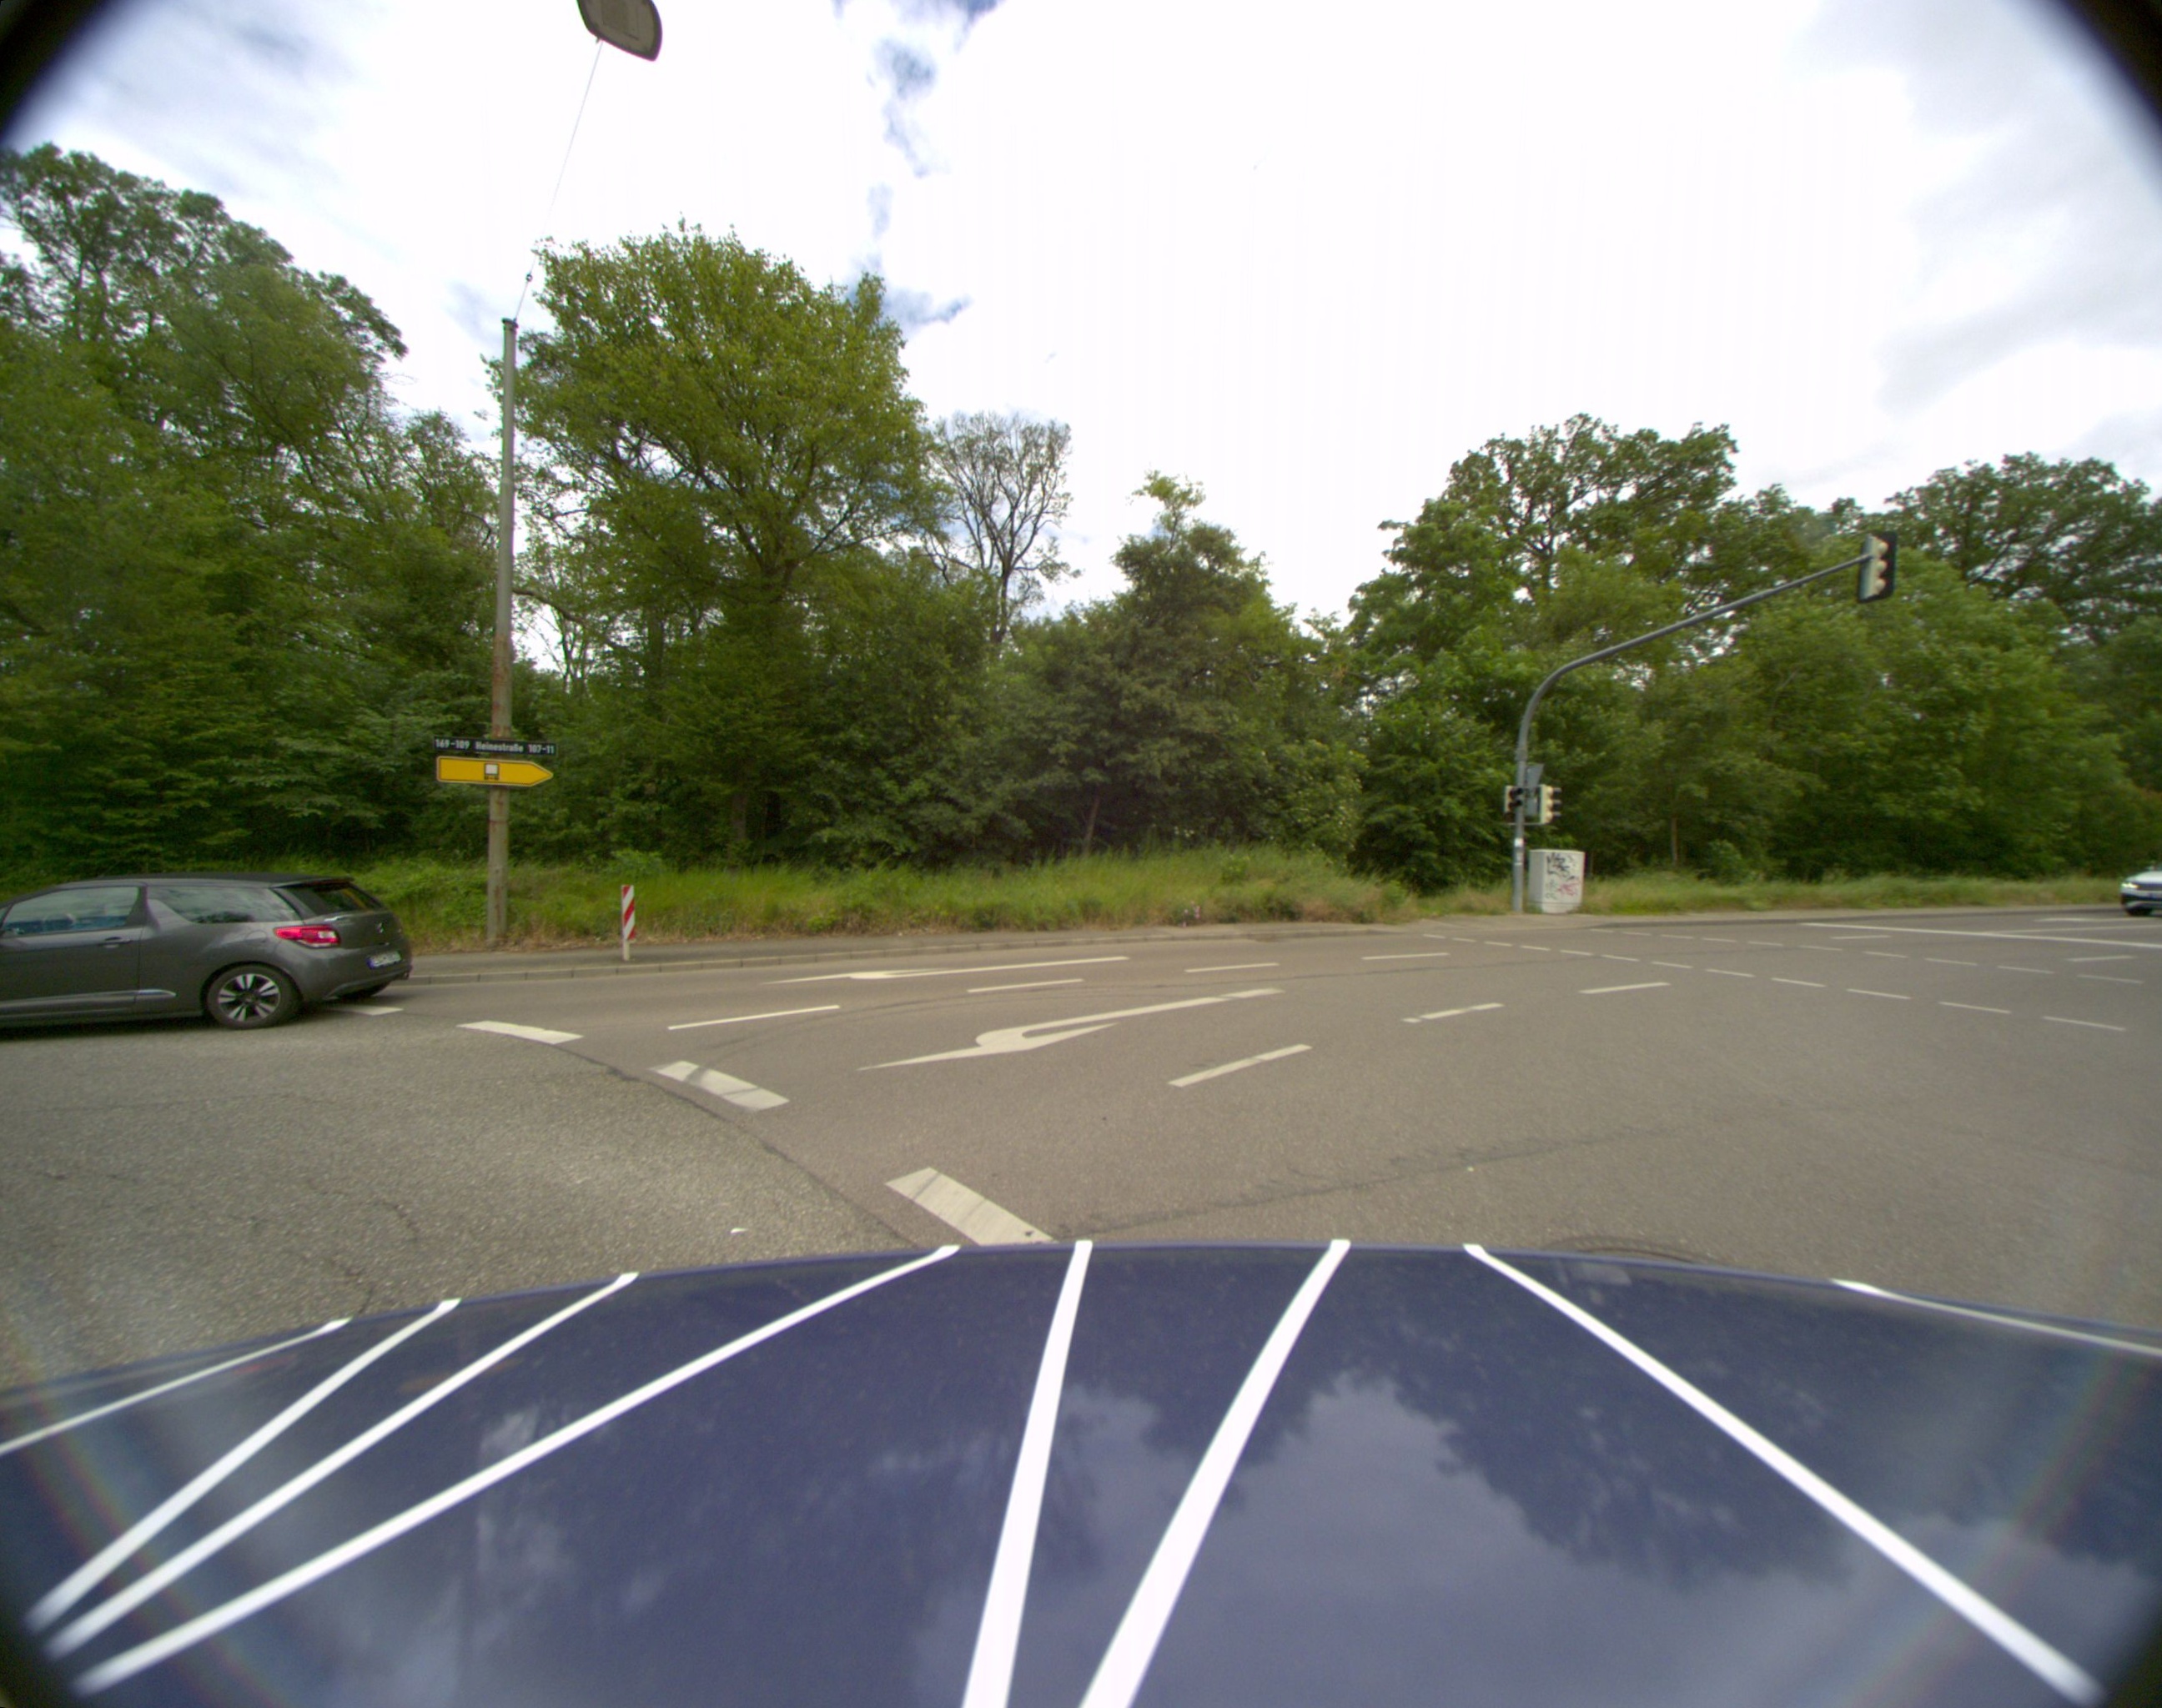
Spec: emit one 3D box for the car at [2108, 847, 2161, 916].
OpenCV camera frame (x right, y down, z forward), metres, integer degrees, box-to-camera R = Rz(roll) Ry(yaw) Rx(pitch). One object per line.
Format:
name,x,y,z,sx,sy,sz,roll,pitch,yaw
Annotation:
car,27.640,0.671,18.319,4.657,1.618,1.862,1,-1,-15

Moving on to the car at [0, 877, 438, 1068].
car,-9.090,1.057,7.445,3.810,1.502,1.821,-1,1,-16
